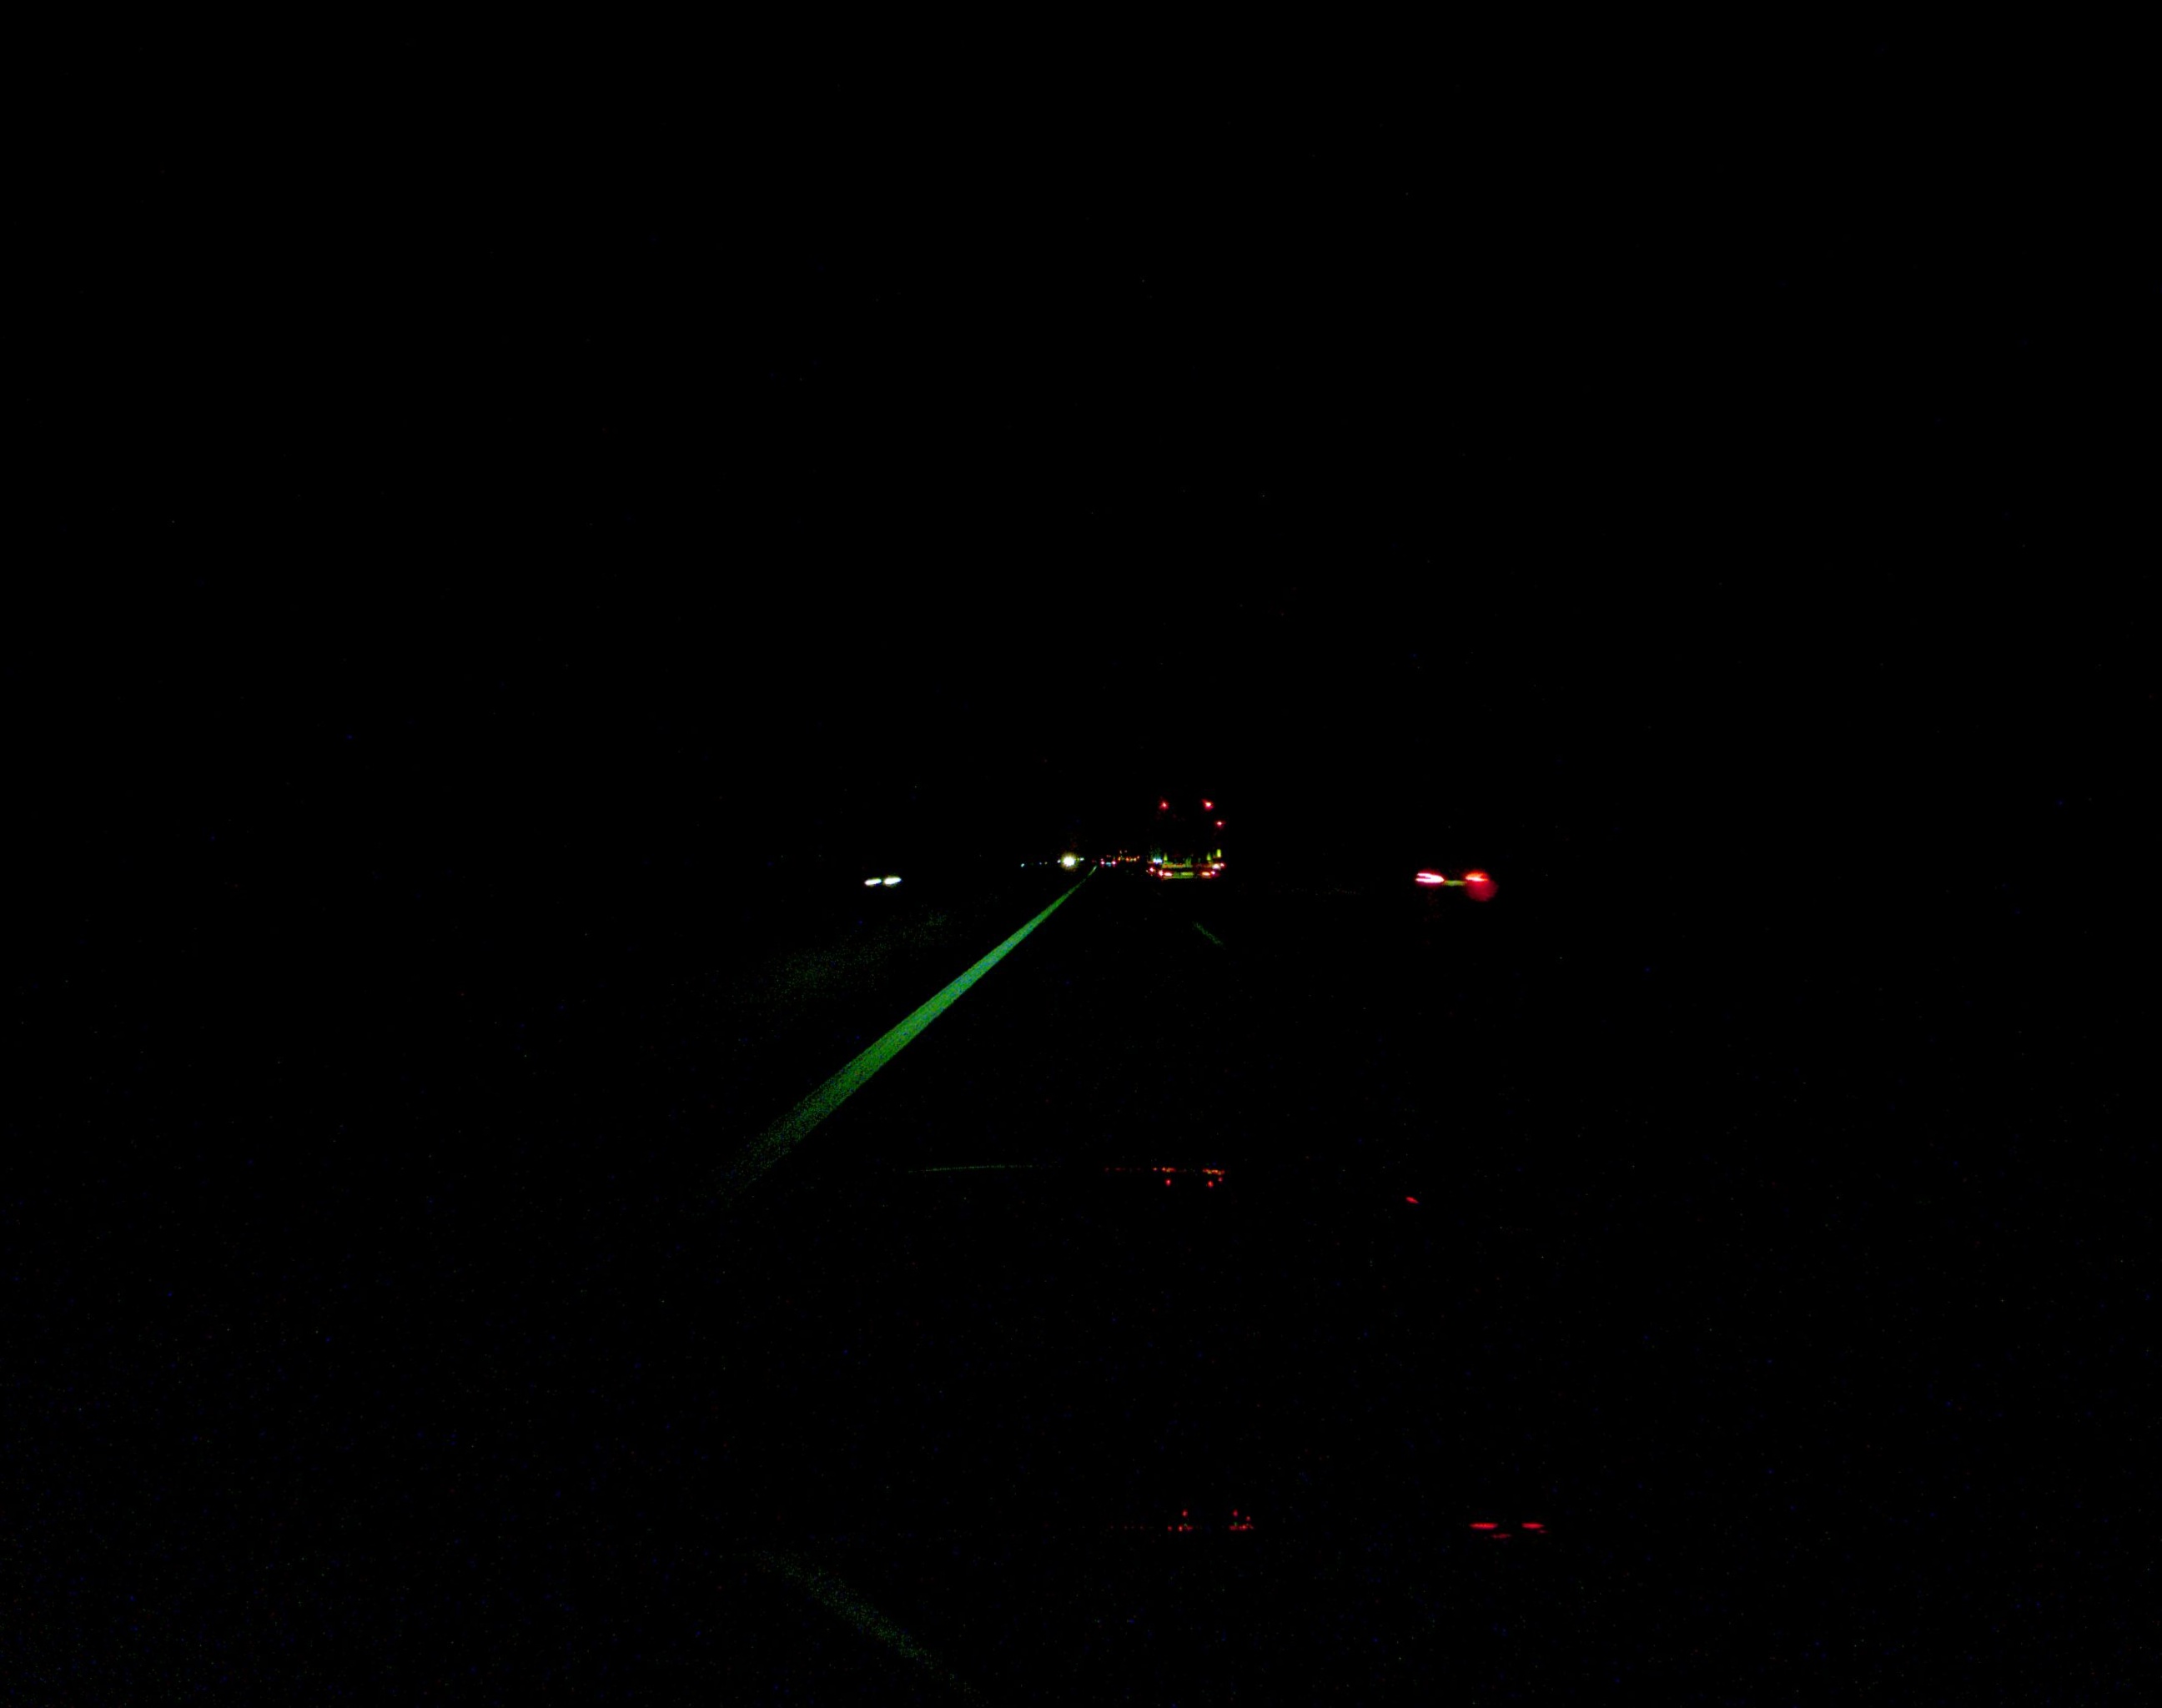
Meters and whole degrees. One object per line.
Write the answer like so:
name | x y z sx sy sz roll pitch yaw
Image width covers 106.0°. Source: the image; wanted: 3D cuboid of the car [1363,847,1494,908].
car | 9.200 0.571 21.951 1.814 1.466 4.249 0 0 2

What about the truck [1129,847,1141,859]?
truck | 12.541 -0.288 190.056 2.071 2.691 7.303 0 -1 -1

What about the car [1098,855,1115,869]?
car | 2.854 0.905 90.768 1.815 1.466 4.247 0 0 1

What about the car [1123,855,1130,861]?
car | 9.363 0.813 168.023 1.341 1.387 3.501 0 0 1

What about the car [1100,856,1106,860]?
car | 6.848 1.257 255.242 1.815 1.466 4.247 0 0 1

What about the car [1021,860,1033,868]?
car | -10.204 1.884 154.578 1.744 1.478 4.943 -4 0 1

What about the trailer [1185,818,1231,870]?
trailer | 10.637 -0.770 69.140 2.581 4.072 10.011 0 0 1

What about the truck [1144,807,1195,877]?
truck | 5.628 -0.725 52.789 2.652 4.206 6.724 0 0 1

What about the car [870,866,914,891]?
car | -13.012 1.663 56.275 1.815 1.466 4.560 -5 0 1

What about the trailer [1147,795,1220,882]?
trailer | 5.514 -0.721 46.310 2.732 4.206 13.513 0 0 1

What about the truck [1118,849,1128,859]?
truck | 13.551 -0.039 263.253 3.034 3.325 10.141 0 0 0
